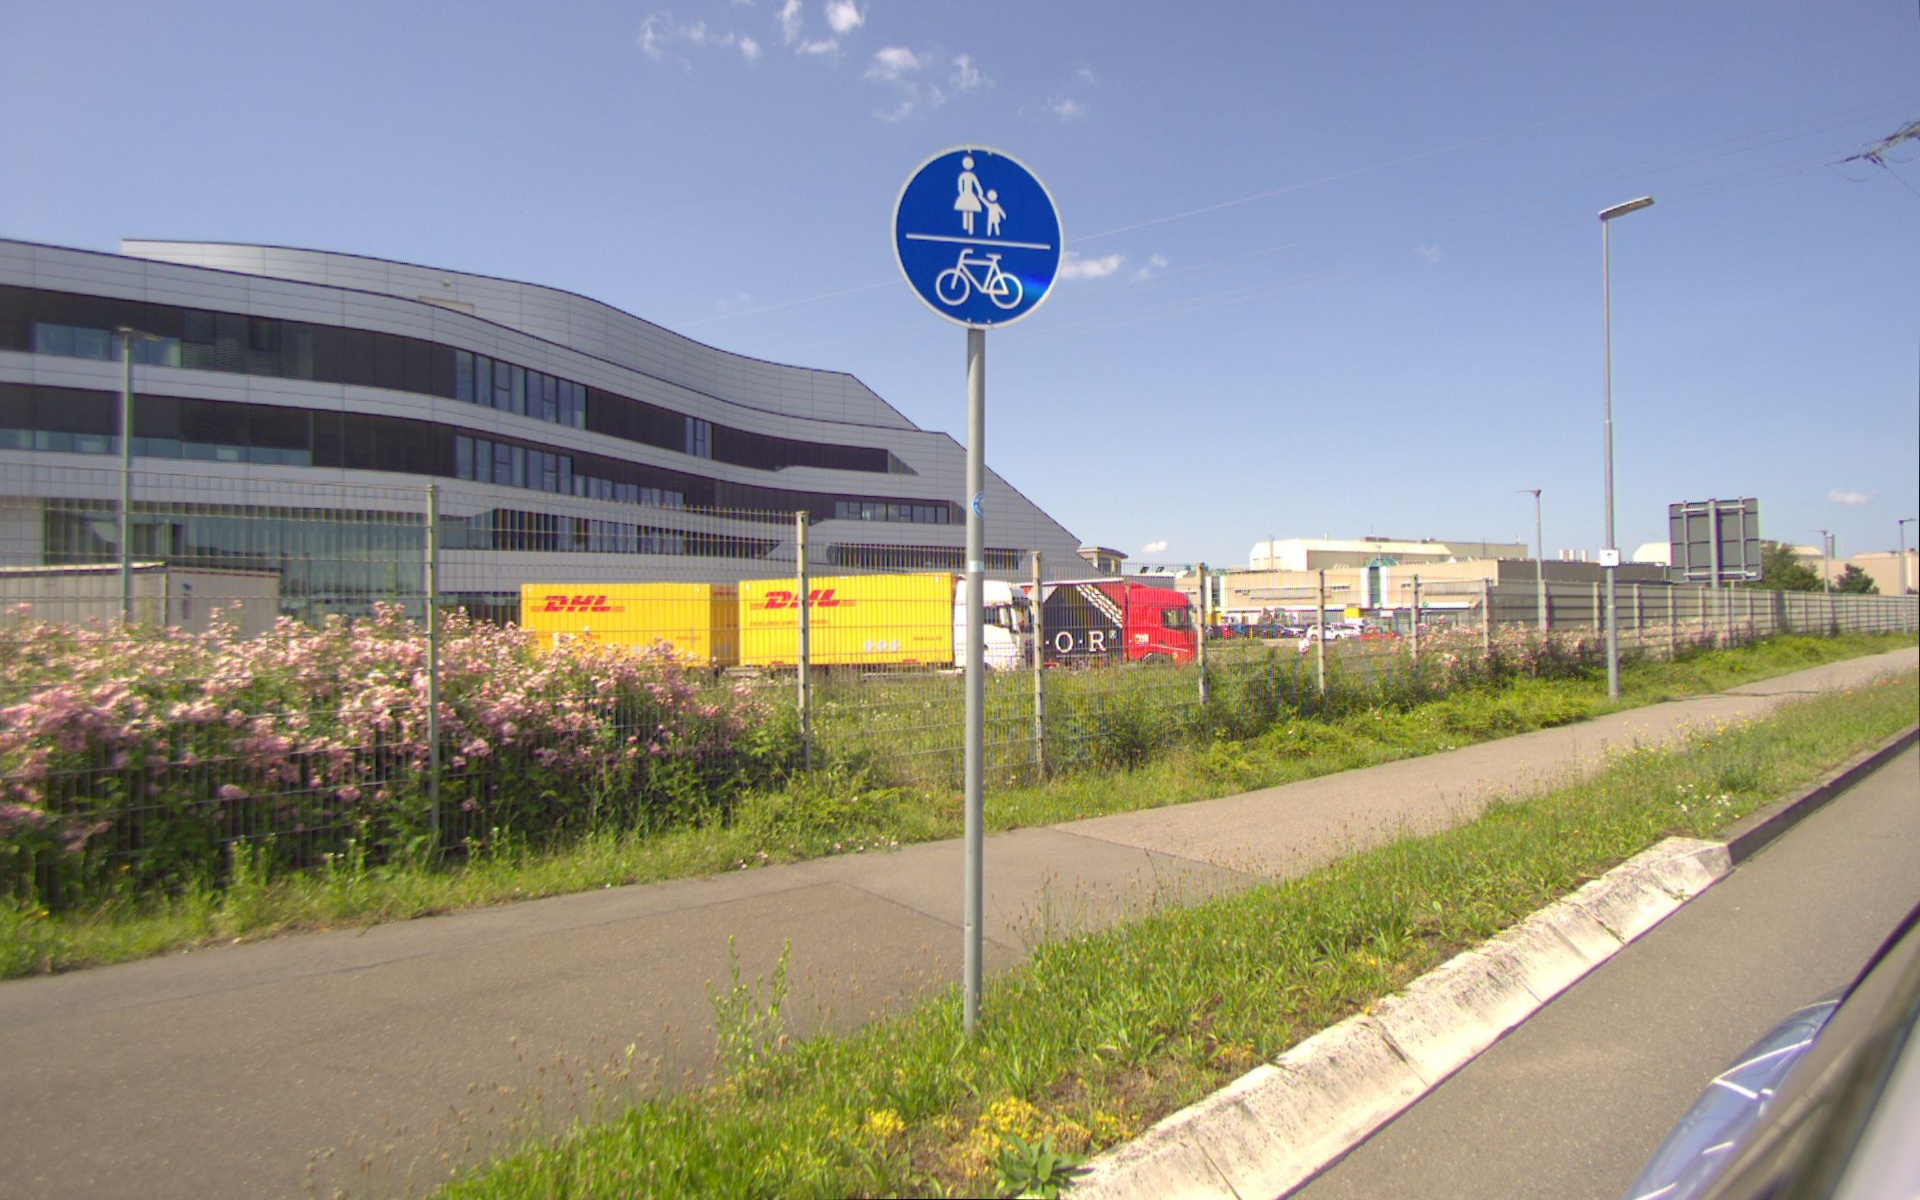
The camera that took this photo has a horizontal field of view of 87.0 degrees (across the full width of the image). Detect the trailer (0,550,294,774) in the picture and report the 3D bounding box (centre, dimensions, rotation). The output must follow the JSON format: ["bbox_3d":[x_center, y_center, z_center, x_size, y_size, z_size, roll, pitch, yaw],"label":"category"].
[{"bbox_3d":[-22.081,1.264,23.672,13.872,4.494,2.751,0,0,18],"label":"trailer"}]

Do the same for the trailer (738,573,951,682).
[{"bbox_3d":[-4.942,1.119,43.235,8.600,4.350,3.011,0,0,19],"label":"trailer"}]

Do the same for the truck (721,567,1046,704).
[{"bbox_3d":[-2.663,1.109,34.430,10.829,4.225,2.806,0,0,19],"label":"truck"}]

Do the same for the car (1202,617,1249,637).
[{"bbox_3d":[28.308,2.900,108.019,1.960,2.040,4.756,0,-2,-30],"label":"car"}]

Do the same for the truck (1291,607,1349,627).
[{"bbox_3d":[60.675,2.886,170.266,11.613,3.178,2.001,0,-2,-29],"label":"truck"}]

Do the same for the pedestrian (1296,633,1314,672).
[{"bbox_3d":[15.291,2.329,44.890,0.563,1.674,0.484,0,-2,-36],"label":"pedestrian"}]

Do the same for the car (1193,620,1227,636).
[{"bbox_3d":[24.697,2.753,99.993,1.443,1.554,3.057,0,-2,-34],"label":"car"}]

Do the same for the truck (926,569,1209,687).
[{"bbox_3d":[4.247,1.046,40.189,10.826,4.310,3.012,0,0,18],"label":"truck"}]

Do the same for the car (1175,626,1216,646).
[{"bbox_3d":[19.206,2.929,82.613,1.443,1.554,3.057,0,-2,-34],"label":"car"}]

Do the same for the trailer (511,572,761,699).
[{"bbox_3d":[-11.868,1.227,37.209,8.588,4.350,2.889,0,0,15],"label":"trailer"}]

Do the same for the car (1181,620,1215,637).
[{"bbox_3d":[23.043,2.767,98.084,1.443,1.554,3.057,0,-2,-34],"label":"car"}]
